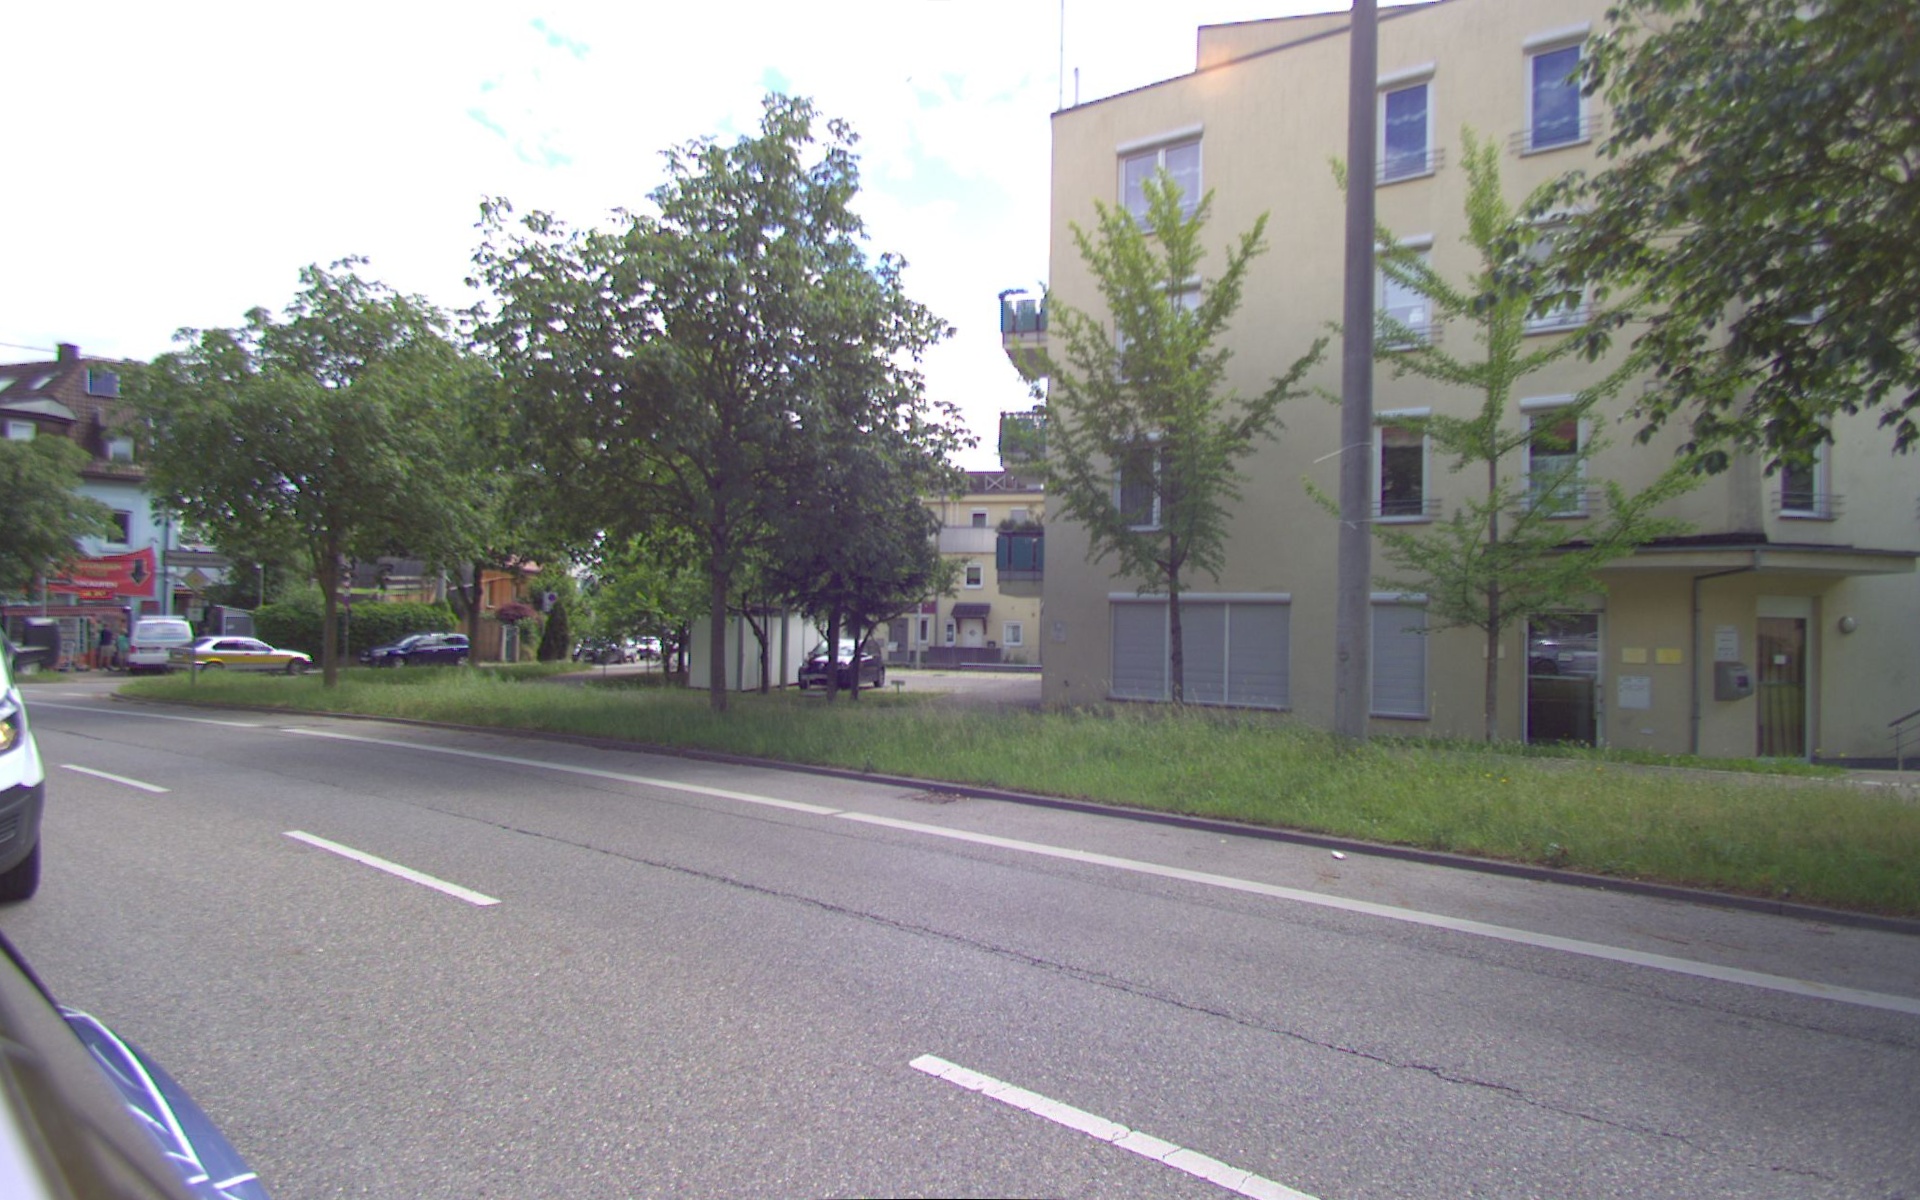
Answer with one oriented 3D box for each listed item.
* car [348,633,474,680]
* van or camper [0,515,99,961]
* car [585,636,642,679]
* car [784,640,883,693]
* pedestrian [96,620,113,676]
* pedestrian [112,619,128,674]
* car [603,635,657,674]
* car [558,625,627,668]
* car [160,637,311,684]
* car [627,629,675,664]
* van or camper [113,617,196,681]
[{"bbox_3d":[-21.249,2.152,39.269,1.715,1.695,3.928,-1,-2,37],"label":"car"},{"bbox_3d":[-6.799,0.655,5.609,5.094,2.029,2.003,-1,-3,37],"label":"van or camper"},{"bbox_3d":[-18.655,3.055,54.615,1.970,2.029,4.004,-1,0,-5],"label":"car"},{"bbox_3d":[-3.611,1.893,29.531,1.774,1.431,3.987,-1,-2,10],"label":"car"},{"bbox_3d":[-31.302,1.758,37.039,0.363,2.029,0.419,-1,0,41],"label":"pedestrian"},{"bbox_3d":[-31.025,1.724,37.372,0.443,2.005,0.378,-1,0,41],"label":"pedestrian"},{"bbox_3d":[-19.120,3.132,58.786,1.970,2.029,4.003,-1,0,-3],"label":"car"},{"bbox_3d":[-18.264,2.314,50.539,1.954,2.029,3.998,0,-2,1],"label":"car"},{"bbox_3d":[-24.824,2.042,34.836,1.528,1.332,4.009,-1,0,26],"label":"car"},{"bbox_3d":[-19.393,2.885,63.656,1.870,2.029,4.002,-1,0,-2],"label":"car"},{"bbox_3d":[-28.977,1.706,36.371,3.811,2.105,1.770,-1,0,43],"label":"van or camper"}]
